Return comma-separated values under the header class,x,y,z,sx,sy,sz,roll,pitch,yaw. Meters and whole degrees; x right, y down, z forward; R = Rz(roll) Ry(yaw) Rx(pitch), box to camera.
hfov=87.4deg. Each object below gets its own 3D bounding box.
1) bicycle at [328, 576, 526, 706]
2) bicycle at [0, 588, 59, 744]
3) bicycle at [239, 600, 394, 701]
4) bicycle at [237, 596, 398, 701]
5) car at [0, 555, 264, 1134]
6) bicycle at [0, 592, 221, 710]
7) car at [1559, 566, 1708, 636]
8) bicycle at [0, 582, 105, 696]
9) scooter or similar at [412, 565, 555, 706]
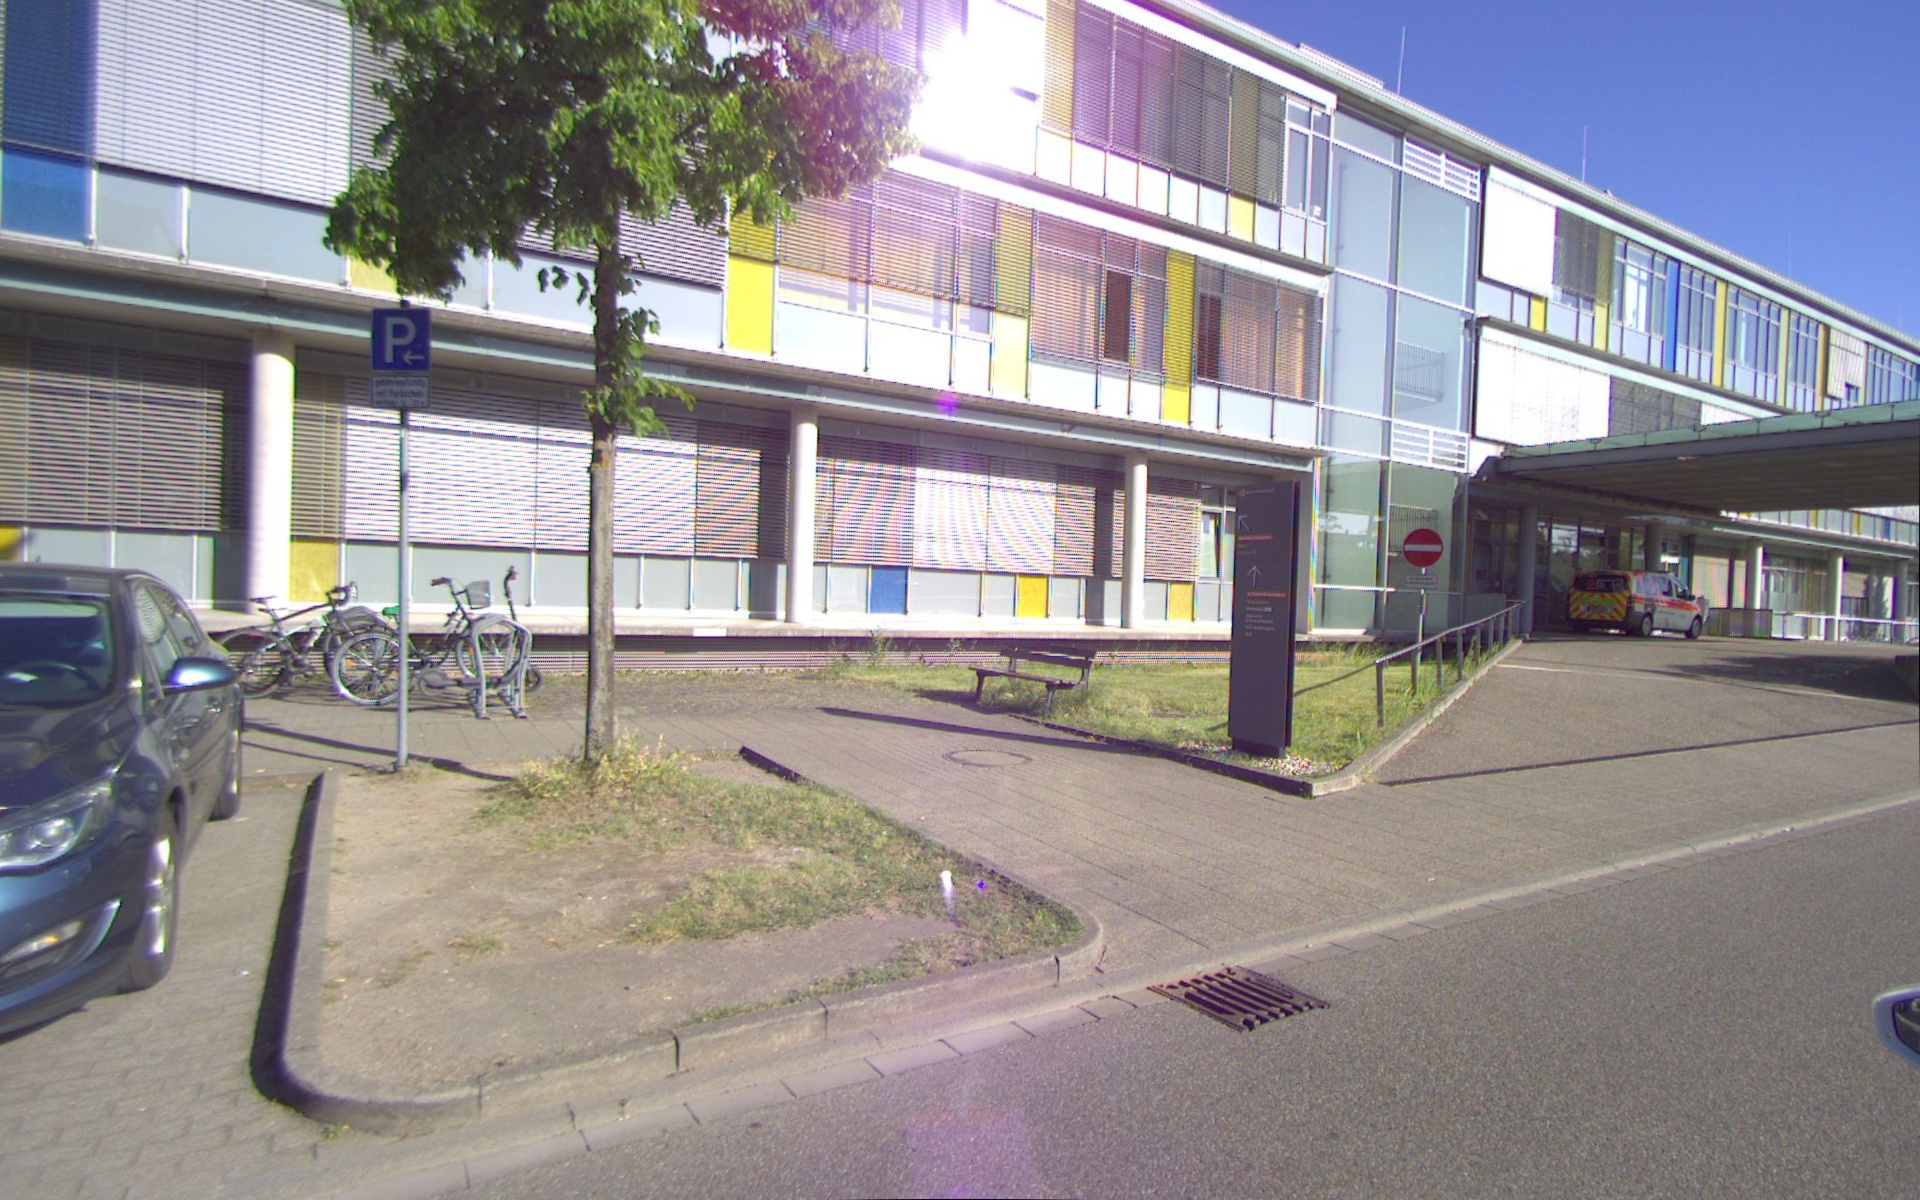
class,x,y,z,sx,sy,sz,roll,pitch,yaw
bicycle,-5.384,0.382,10.215,1.635,1.062,0.350,-9,7,-36
bicycle,-7.863,0.476,7.369,1.760,1.158,0.632,1,0,-33
bicycle,-6.931,0.529,10.855,1.384,1.036,0.350,1,0,-37
bicycle,-6.705,0.495,10.514,1.384,1.036,0.350,1,0,-37
car,-4.045,0.582,4.109,1.734,1.486,4.108,1,2,-32
bicycle,-7.979,0.461,9.324,1.760,1.029,0.444,1,0,-33
car,20.009,0.049,29.787,4.659,1.916,1.909,1,1,-32
bicycle,-9.959,0.385,10.234,1.836,1.151,0.444,1,0,-33
scooter or similar,-4.575,0.333,9.661,1.191,1.291,0.468,1,1,-30
